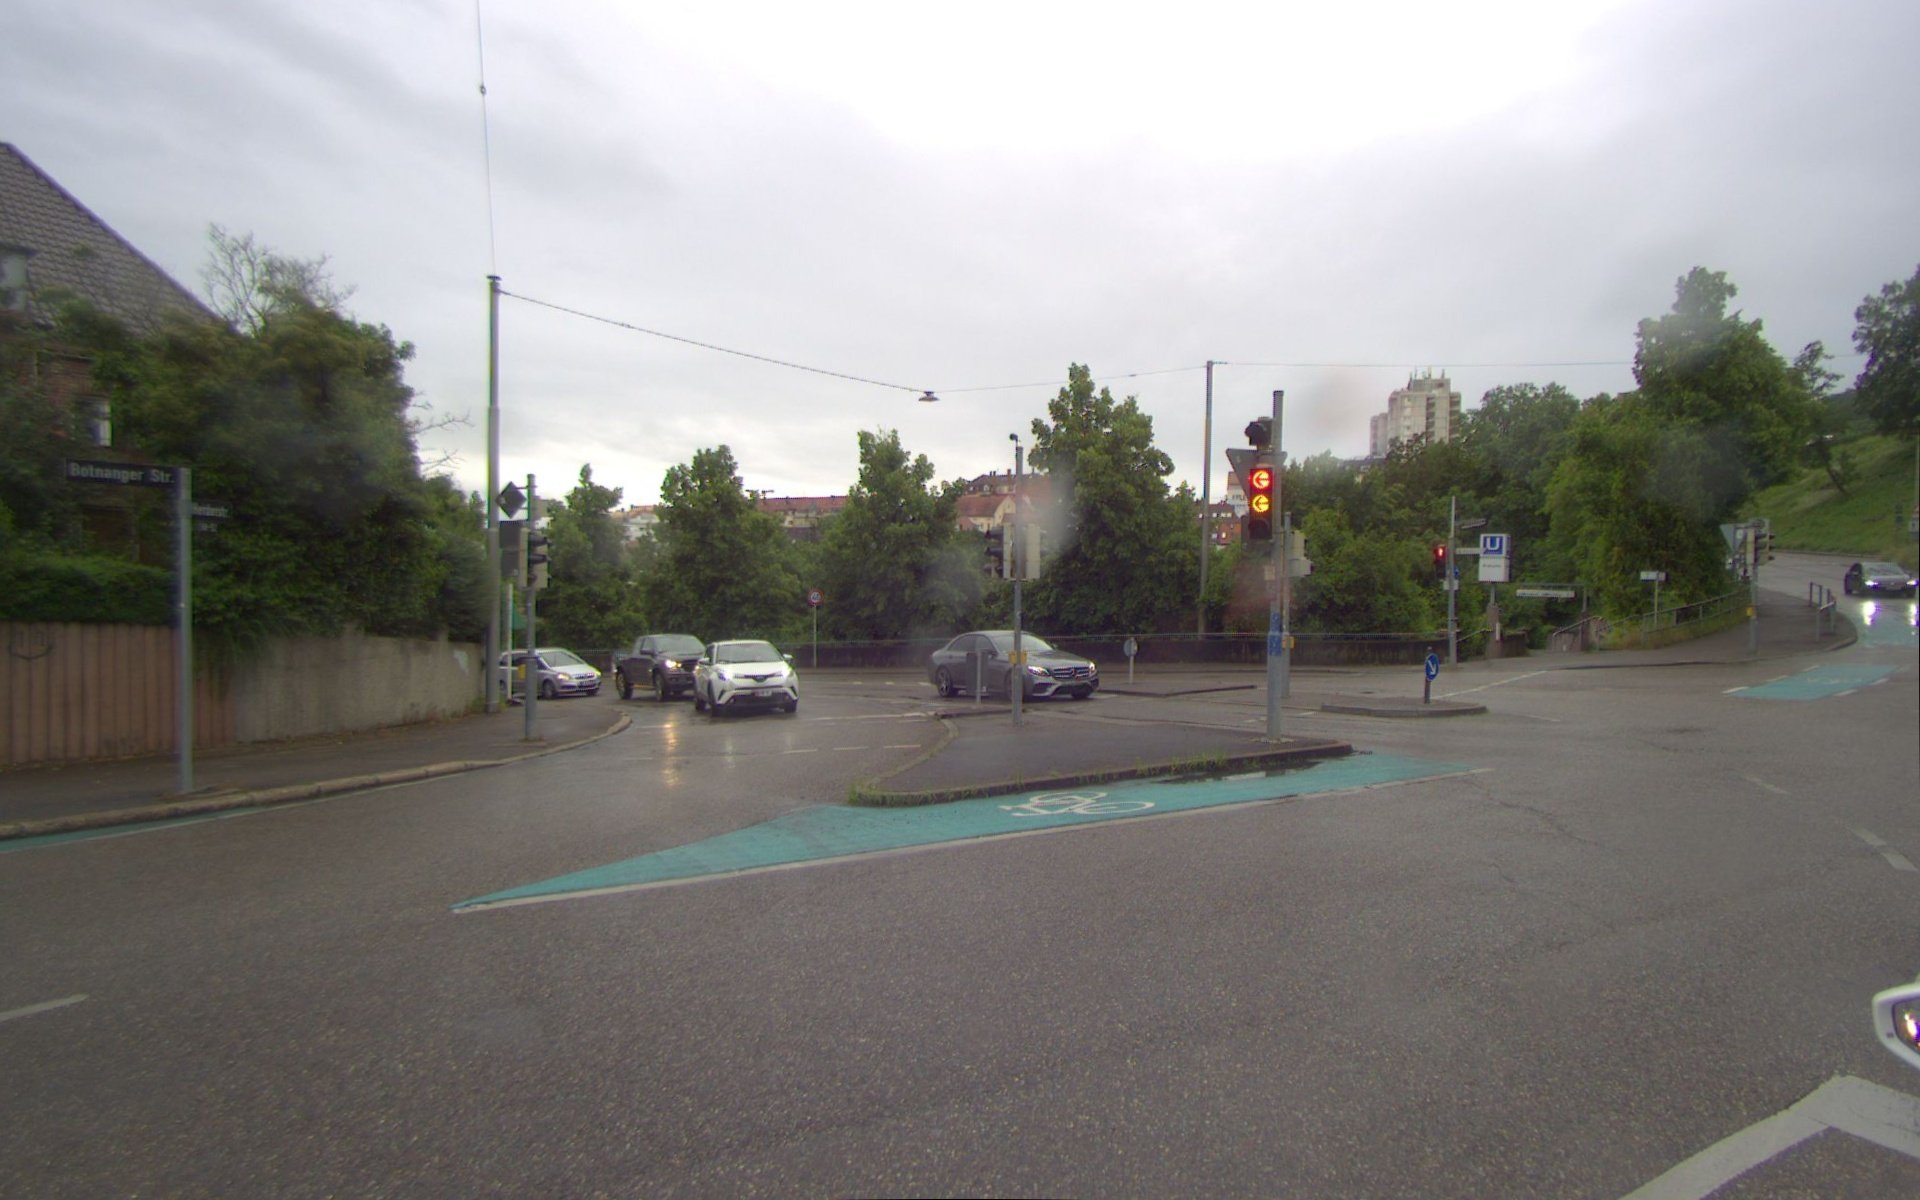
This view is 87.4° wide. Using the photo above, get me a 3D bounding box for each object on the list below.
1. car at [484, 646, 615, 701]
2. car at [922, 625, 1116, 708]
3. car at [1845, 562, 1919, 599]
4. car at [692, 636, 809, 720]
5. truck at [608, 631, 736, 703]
[{"bbox_3d":[-13.719,2.433,33.523,4.238,1.653,1.853,-2,-1,31],"label":"car"},{"bbox_3d":[1.153,1.384,21.868,1.959,1.527,4.450,-2,-1,-32],"label":"car"},{"bbox_3d":[40.878,-0.893,44.545,1.931,1.532,4.388,1,3,36],"label":"car"},{"bbox_3d":[-4.593,1.634,21.619,1.810,1.527,3.866,-2,-2,-21],"label":"car"},{"bbox_3d":[-8.335,1.934,28.767,1.890,1.809,4.940,-2,-3,-36],"label":"truck"}]
